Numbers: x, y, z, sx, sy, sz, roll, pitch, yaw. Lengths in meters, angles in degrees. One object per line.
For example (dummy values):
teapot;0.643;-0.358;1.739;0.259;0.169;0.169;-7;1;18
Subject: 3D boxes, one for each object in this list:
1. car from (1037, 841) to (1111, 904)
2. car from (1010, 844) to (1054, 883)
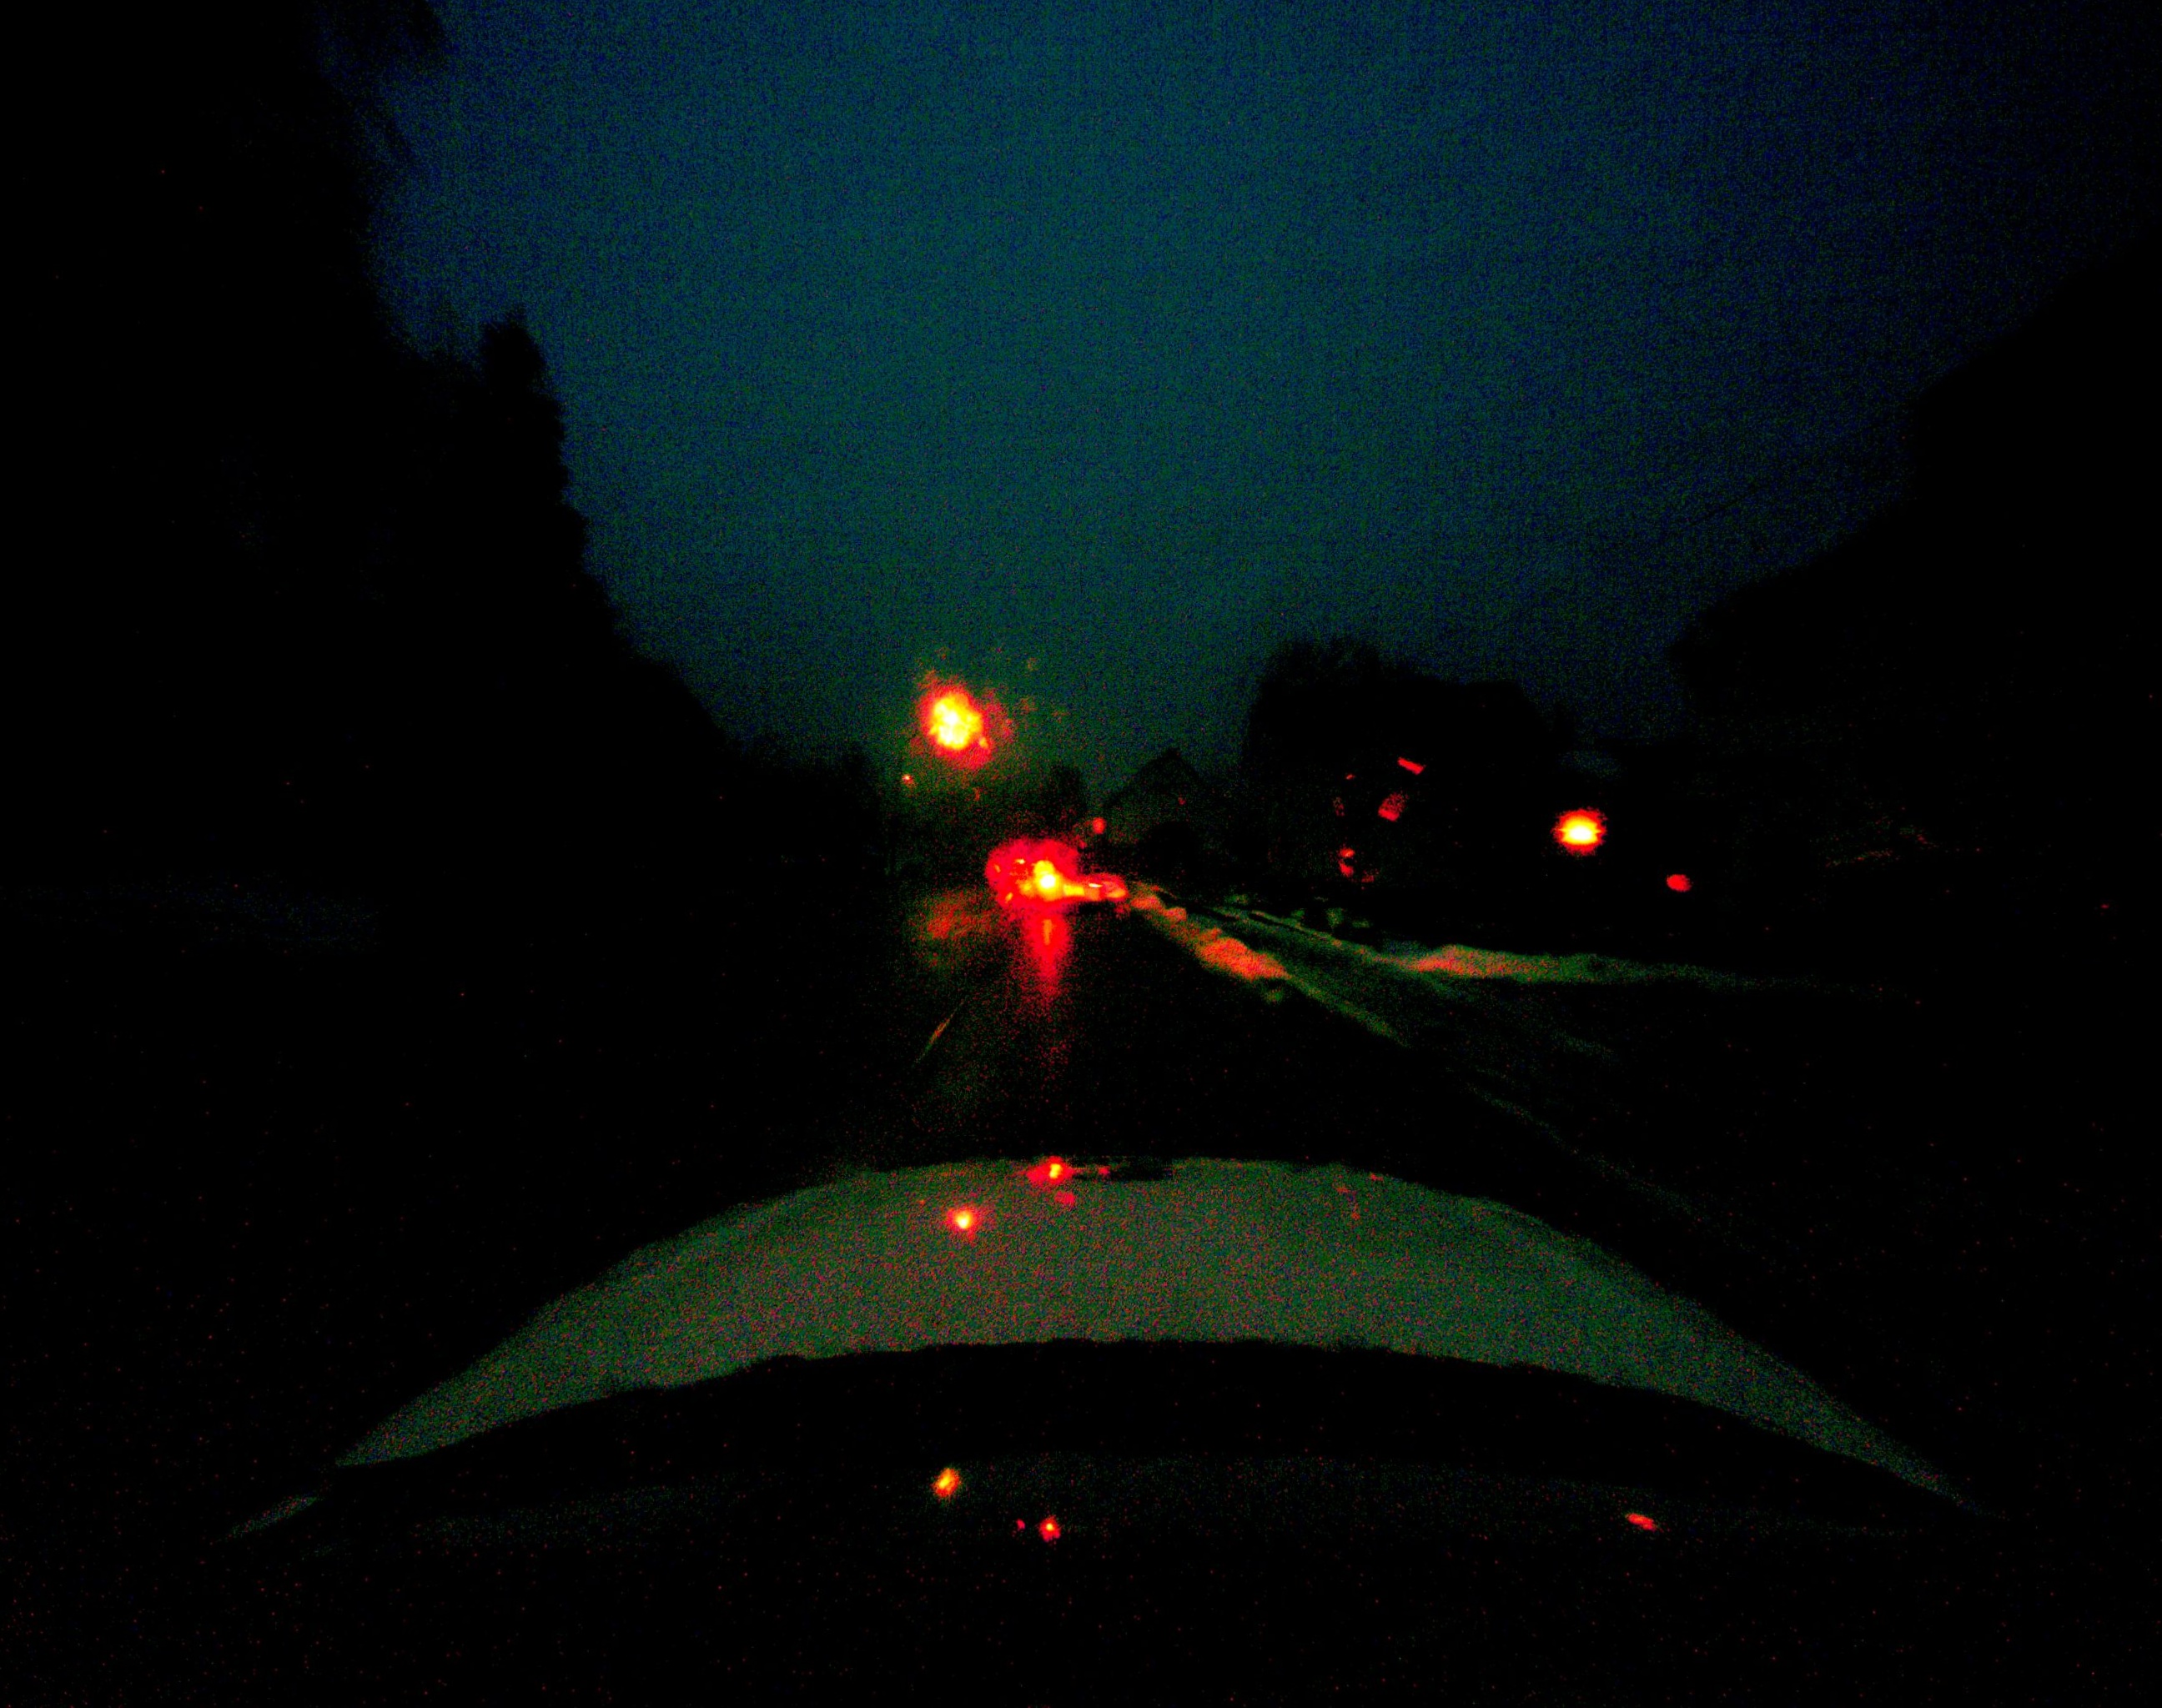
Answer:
car;-0.286;0.502;22.864;1.893;1.609;3.994;0;-1;-4
car;-2.367;0.466;38.860;1.990;1.737;3.872;0;-1;-5
